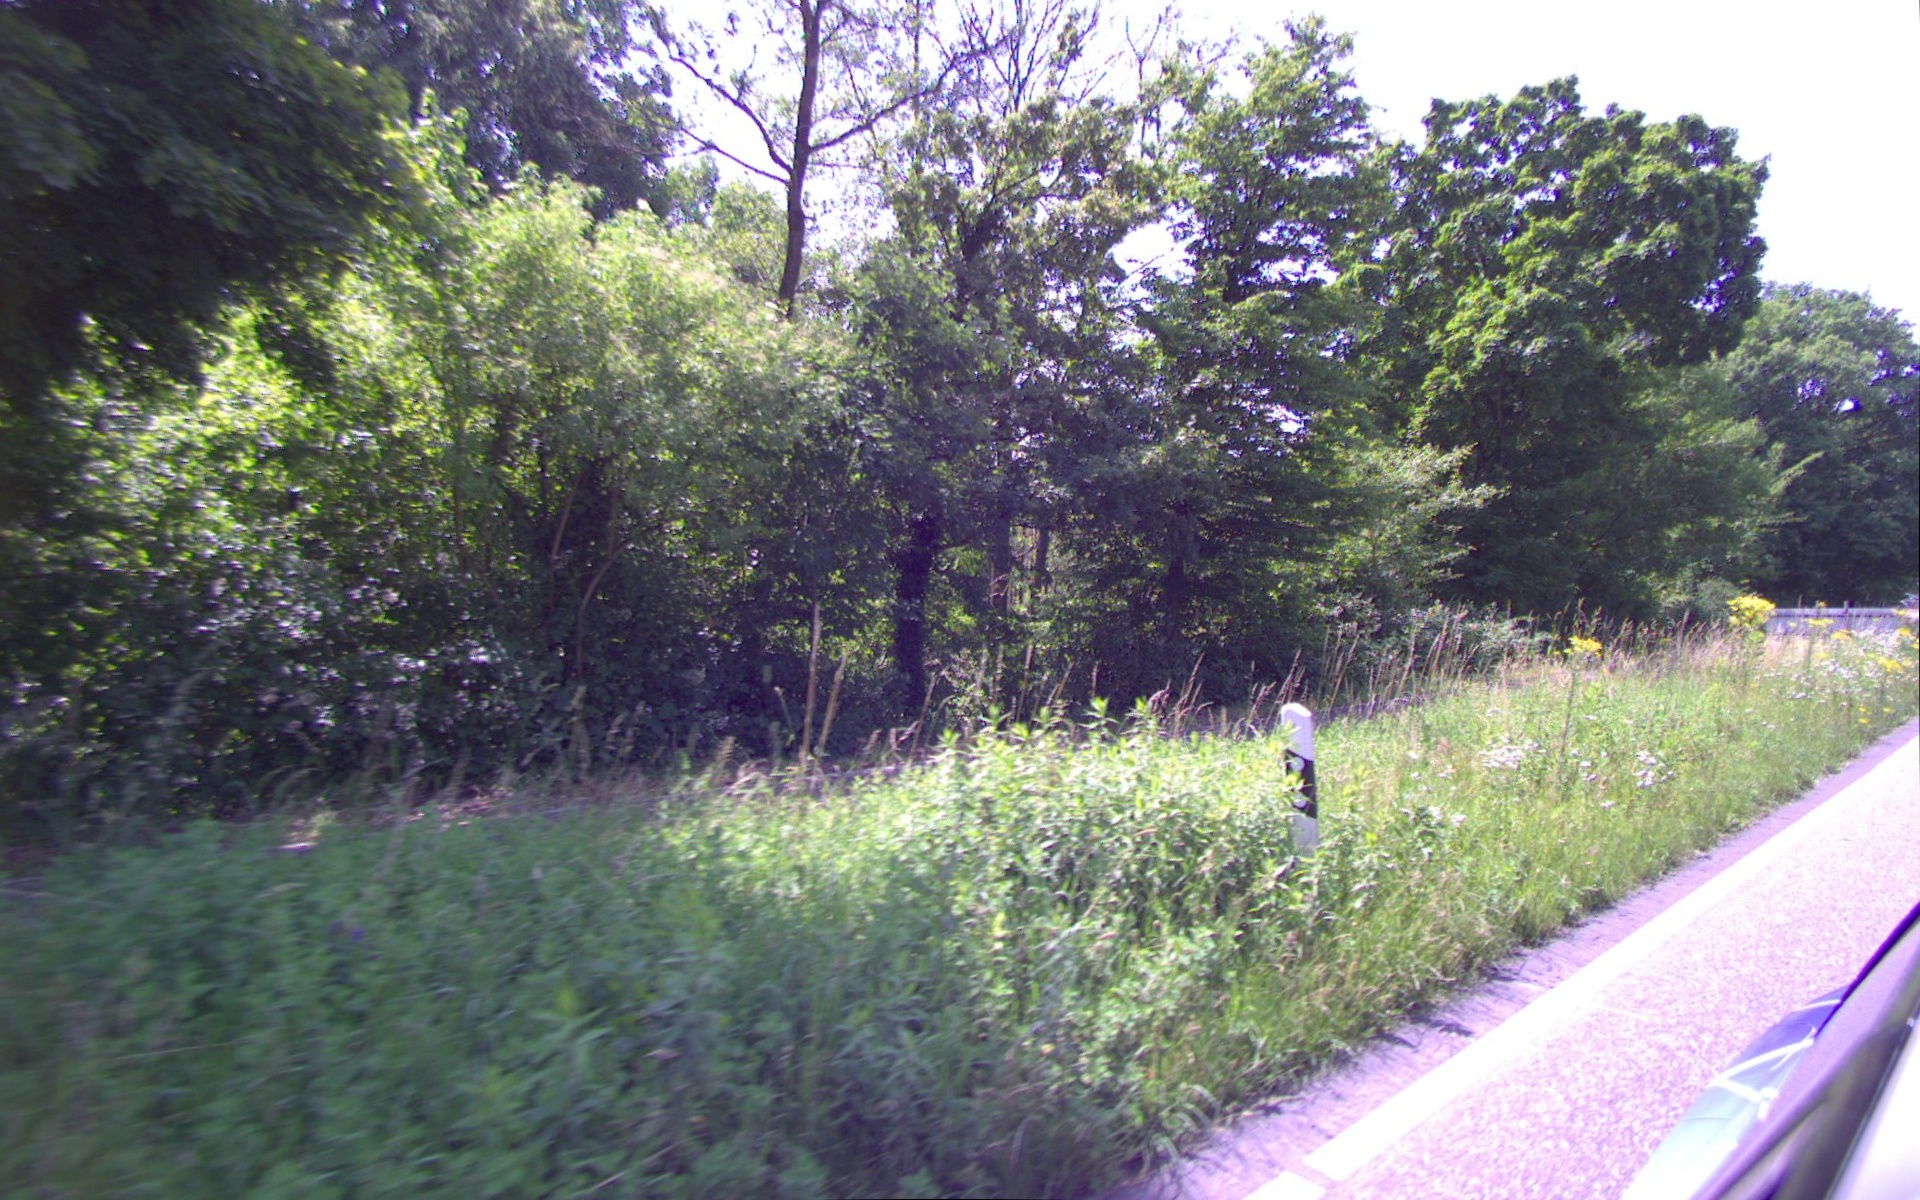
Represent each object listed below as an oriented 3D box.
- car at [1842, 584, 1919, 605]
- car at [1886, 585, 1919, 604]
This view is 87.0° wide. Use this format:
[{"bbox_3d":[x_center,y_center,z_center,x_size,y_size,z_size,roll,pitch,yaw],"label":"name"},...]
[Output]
[{"bbox_3d":[76.063,-0.470,83.246,1.984,1.517,4.945,-1,3,-39],"label":"car"},{"bbox_3d":[79.878,-0.421,84.140,1.961,1.464,4.100,0,3,-41],"label":"car"}]
